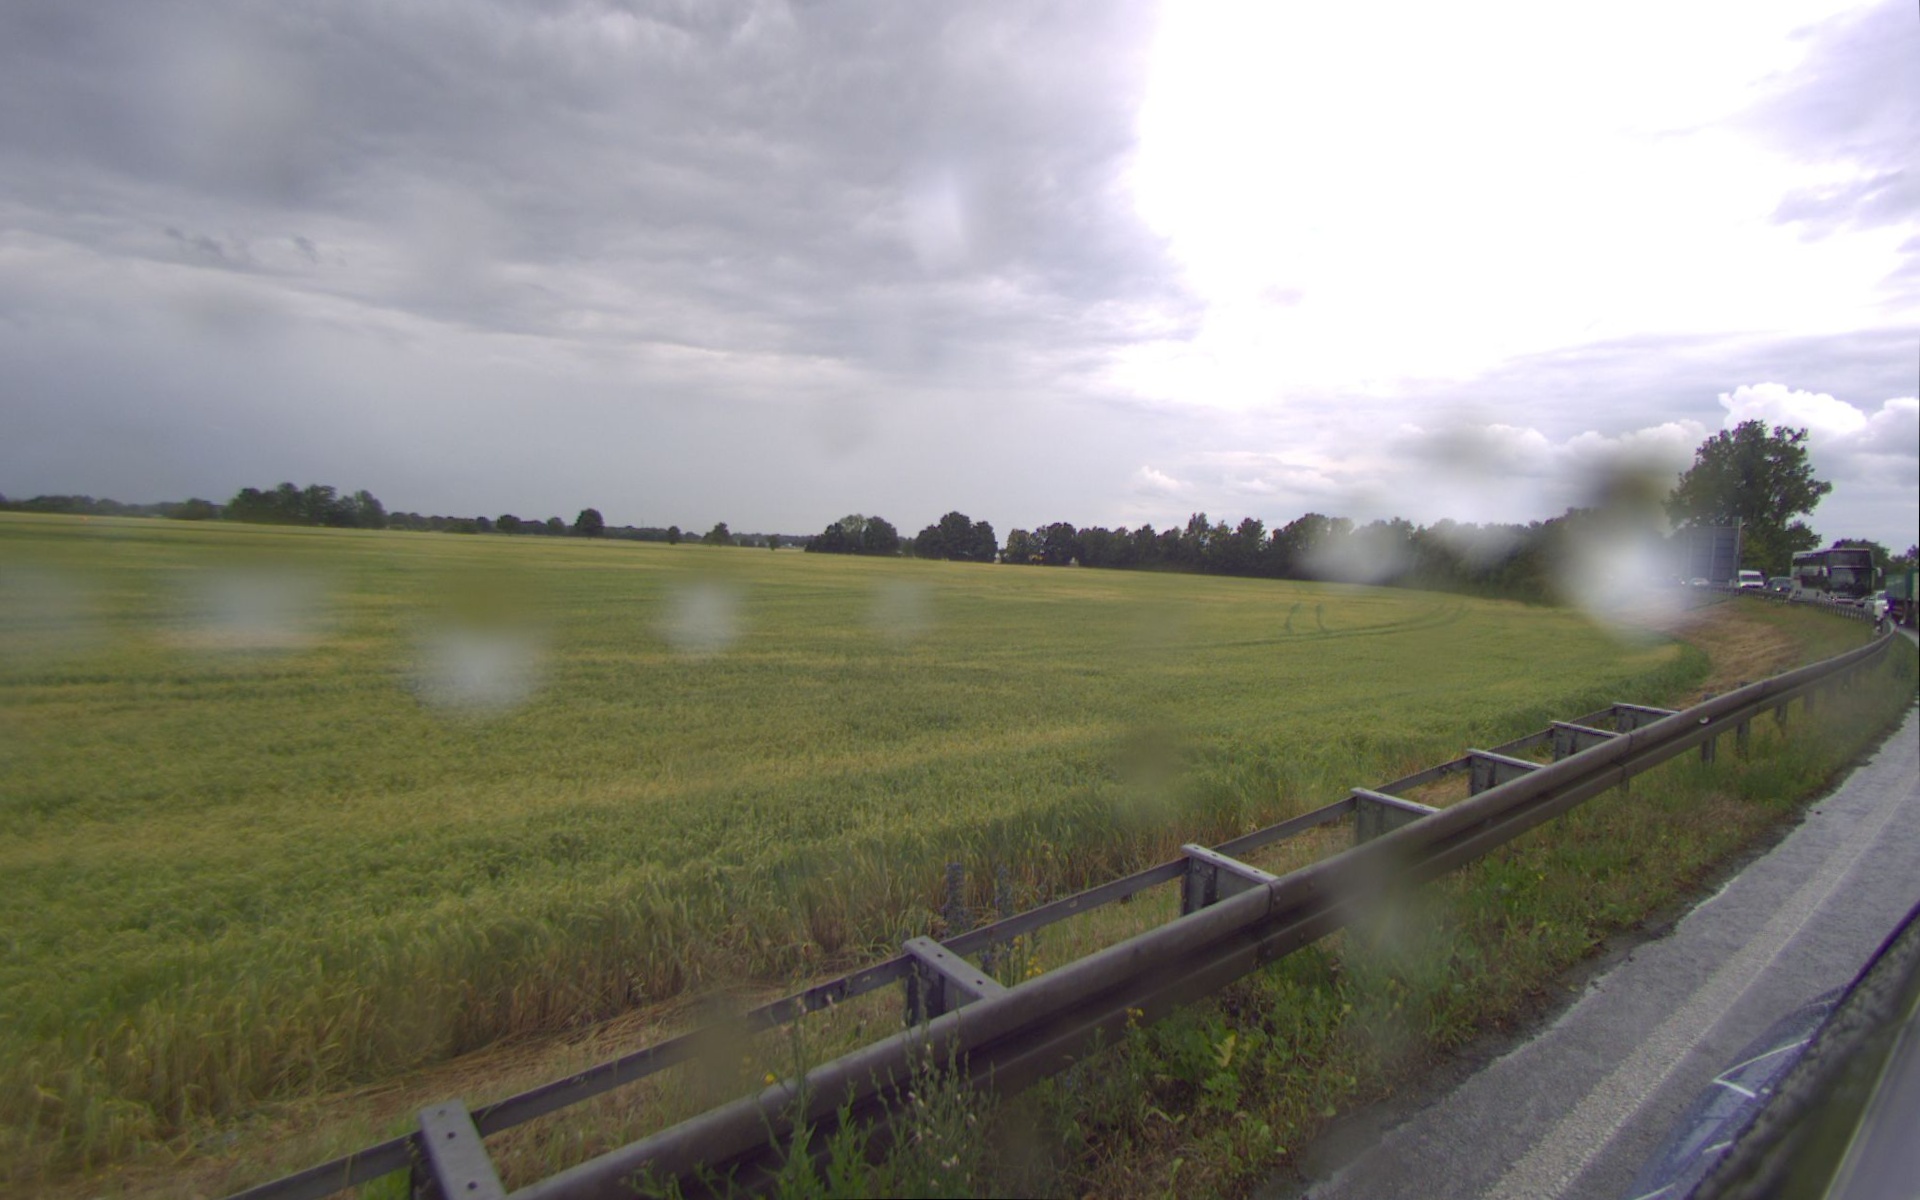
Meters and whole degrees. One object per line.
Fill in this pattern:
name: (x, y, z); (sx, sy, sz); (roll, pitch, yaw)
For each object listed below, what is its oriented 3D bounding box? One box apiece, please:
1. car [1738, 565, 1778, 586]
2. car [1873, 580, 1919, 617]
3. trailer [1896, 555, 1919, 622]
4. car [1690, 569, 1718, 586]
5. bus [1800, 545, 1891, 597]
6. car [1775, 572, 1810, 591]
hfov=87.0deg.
car: (81.984, -2.488, 104.041); (1.979, 2.039, 5.292); (0, 1, 25)
car: (50.654, -0.101, 54.245); (2.031, 1.866, 5.266); (0, 1, 36)
trailer: (40.405, -0.464, 40.640); (2.970, 2.666, 15.465); (0, 1, 38)
car: (91.941, -2.730, 125.047); (1.979, 2.039, 4.196); (0, 1, 25)
bus: (63.212, -2.128, 72.617); (2.945, 3.353, 14.662); (0, 2, 34)
car: (73.111, -1.650, 88.883); (1.801, 1.597, 3.956); (0, 1, 31)
